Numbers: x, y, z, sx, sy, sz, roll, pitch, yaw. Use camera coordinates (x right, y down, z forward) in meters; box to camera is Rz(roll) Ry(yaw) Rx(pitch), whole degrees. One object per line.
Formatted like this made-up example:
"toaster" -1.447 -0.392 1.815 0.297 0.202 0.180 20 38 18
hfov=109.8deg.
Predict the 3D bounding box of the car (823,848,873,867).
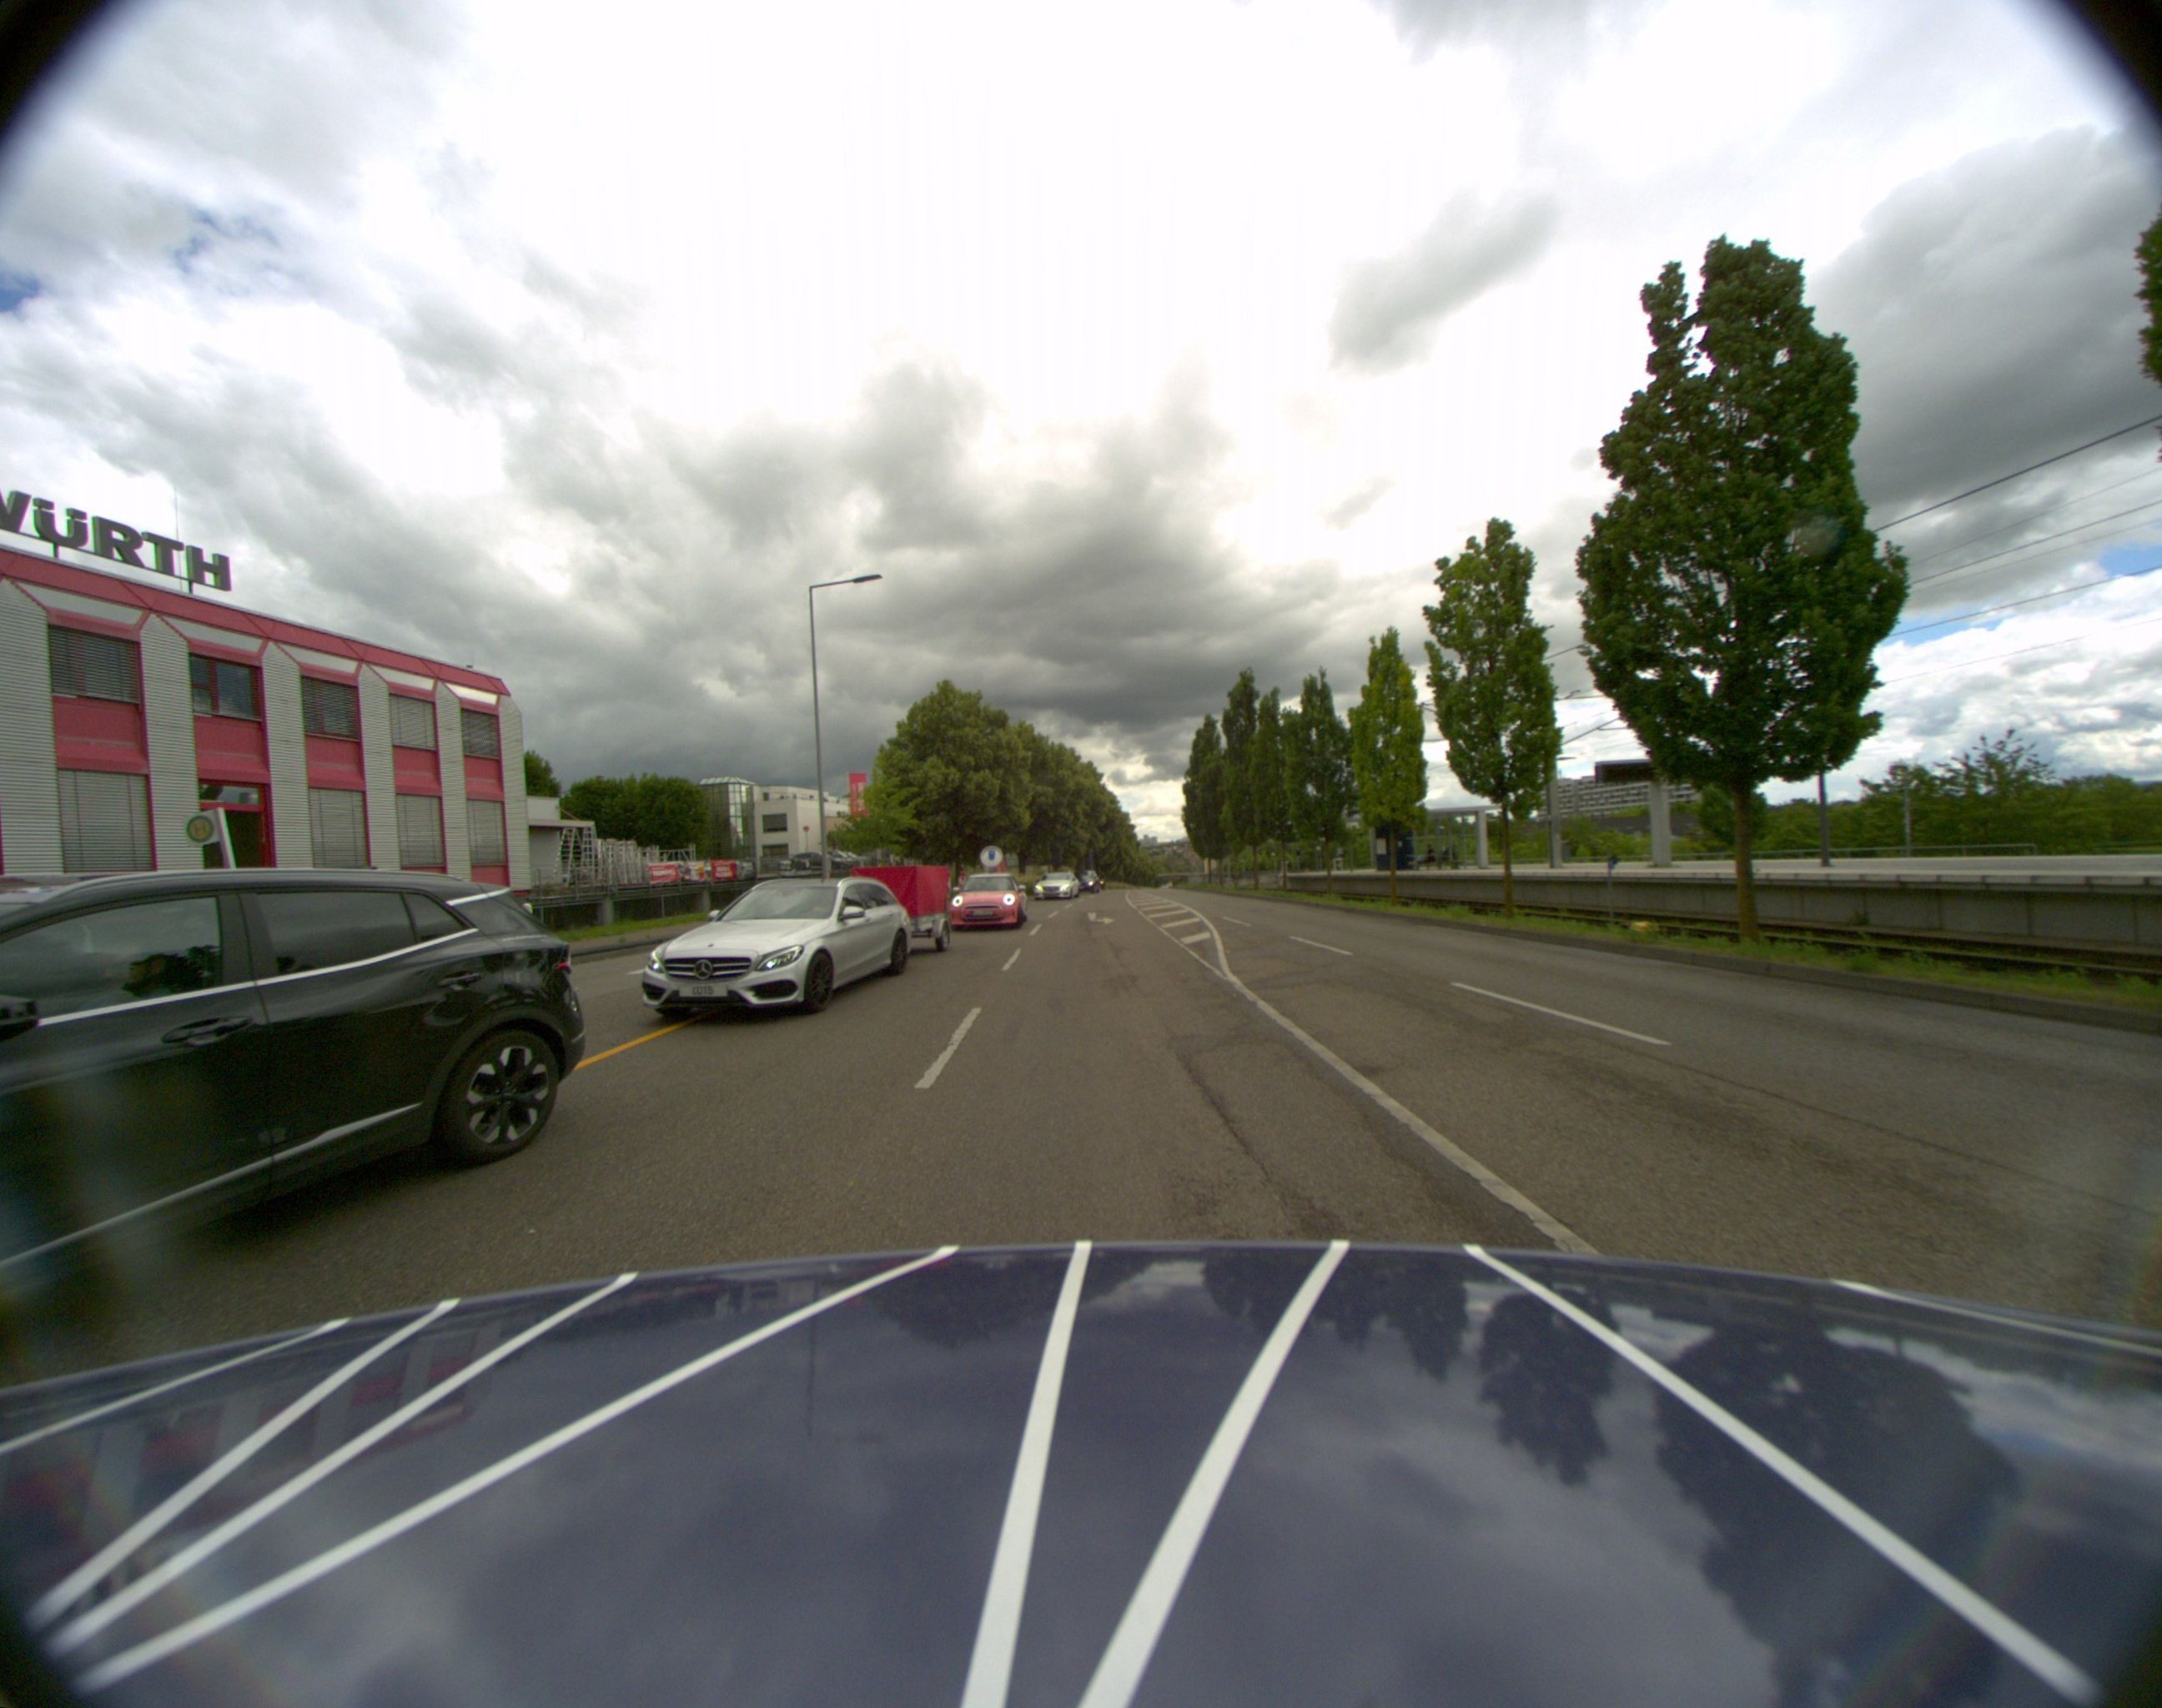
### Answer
"car" -20.241 0.310 66.016 3.762 1.355 1.757 -3 -2 9

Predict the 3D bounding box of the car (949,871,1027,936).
"car" -2.363 1.232 20.158 1.723 1.448 3.696 -2 0 -3

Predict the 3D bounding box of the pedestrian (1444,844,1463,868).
"pedestrian" 17.207 0.092 35.112 0.608 1.072 0.470 -2 -2 0

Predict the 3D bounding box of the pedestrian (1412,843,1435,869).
"pedestrian" 16.274 0.095 36.105 0.763 1.192 0.665 -2 -1 0

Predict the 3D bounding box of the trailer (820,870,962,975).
"trailer" -3.251 1.112 13.587 1.412 1.584 3.305 -2 -1 5

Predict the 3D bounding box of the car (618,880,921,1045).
"car" -3.544 1.147 9.691 1.675 1.439 4.491 -2 0 5

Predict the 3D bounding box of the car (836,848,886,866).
"car" -20.014 0.251 69.179 3.933 1.474 1.757 -2 0 10

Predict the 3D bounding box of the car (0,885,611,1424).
"car" -4.246 1.024 2.787 1.848 1.552 4.407 -2 0 8

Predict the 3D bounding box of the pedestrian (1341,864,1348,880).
"pedestrian" 27.660 1.910 79.719 0.508 1.615 0.646 -2 -2 6

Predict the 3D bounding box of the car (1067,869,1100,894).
"car" 0.197 1.767 49.808 1.805 1.439 4.002 -2 0 5

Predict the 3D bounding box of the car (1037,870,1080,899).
"car" -1.123 1.554 39.330 1.739 1.365 4.003 -2 -2 5

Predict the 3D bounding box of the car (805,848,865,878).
"car" -17.896 0.680 55.329 3.762 1.946 1.645 -3 -2 9

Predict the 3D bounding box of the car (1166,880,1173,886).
"car" 21.519 7.038 184.429 1.719 1.512 3.748 -2 -2 6
